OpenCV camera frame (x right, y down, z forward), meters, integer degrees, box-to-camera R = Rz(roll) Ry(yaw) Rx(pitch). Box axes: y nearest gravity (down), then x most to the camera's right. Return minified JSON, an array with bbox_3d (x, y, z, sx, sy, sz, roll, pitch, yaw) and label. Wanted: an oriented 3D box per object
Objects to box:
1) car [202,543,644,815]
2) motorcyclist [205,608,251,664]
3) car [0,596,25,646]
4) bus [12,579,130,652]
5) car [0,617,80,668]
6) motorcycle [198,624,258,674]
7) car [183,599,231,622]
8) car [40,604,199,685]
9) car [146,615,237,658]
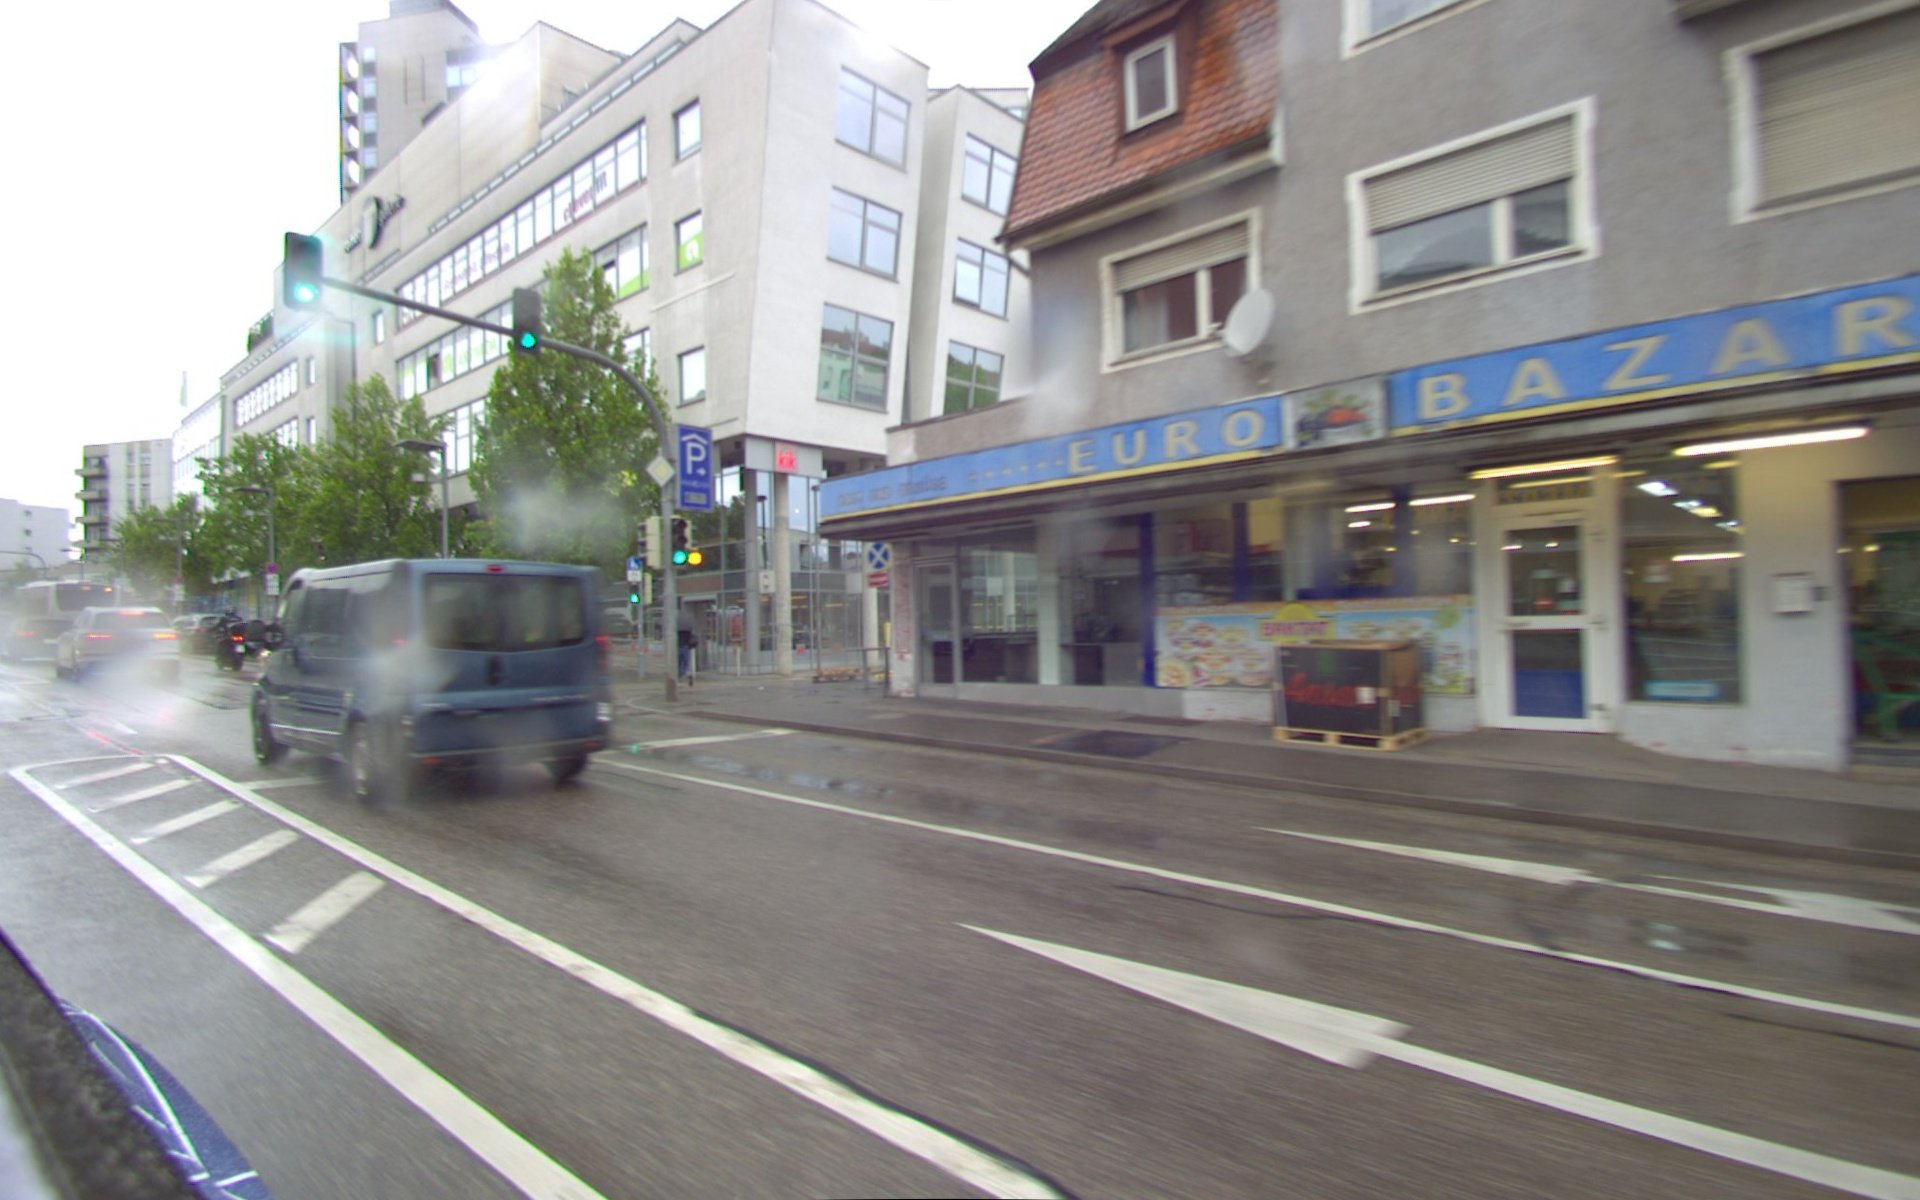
[{"bbox_3d":[-5.350,0.598,9.707,5.175,1.953,1.945,0,-2,40],"label":"car"},{"bbox_3d":[-19.955,0.969,27.586,1.140,1.467,0.776,-1,-2,42],"label":"motorcyclist"},{"bbox_3d":[-40.539,0.864,42.426,4.285,2.029,1.615,-1,-2,43],"label":"car"},{"bbox_3d":[-43.029,0.735,48.765,11.996,3.123,2.861,0,-2,42],"label":"bus"},{"bbox_3d":[-28.454,1.250,31.078,4.381,1.445,1.738,-1,-2,44],"label":"car"},{"bbox_3d":[-19.962,1.299,27.580,2.185,1.293,0.897,-1,-2,42],"label":"motorcycle"},{"bbox_3d":[-47.371,0.673,63.652,3.730,1.421,1.734,-1,-2,43],"label":"car"},{"bbox_3d":[-20.088,0.991,24.105,4.845,1.725,2.077,0,-2,40],"label":"car"},{"bbox_3d":[-29.998,1.388,39.462,3.997,1.608,1.973,0,-2,40],"label":"car"}]
